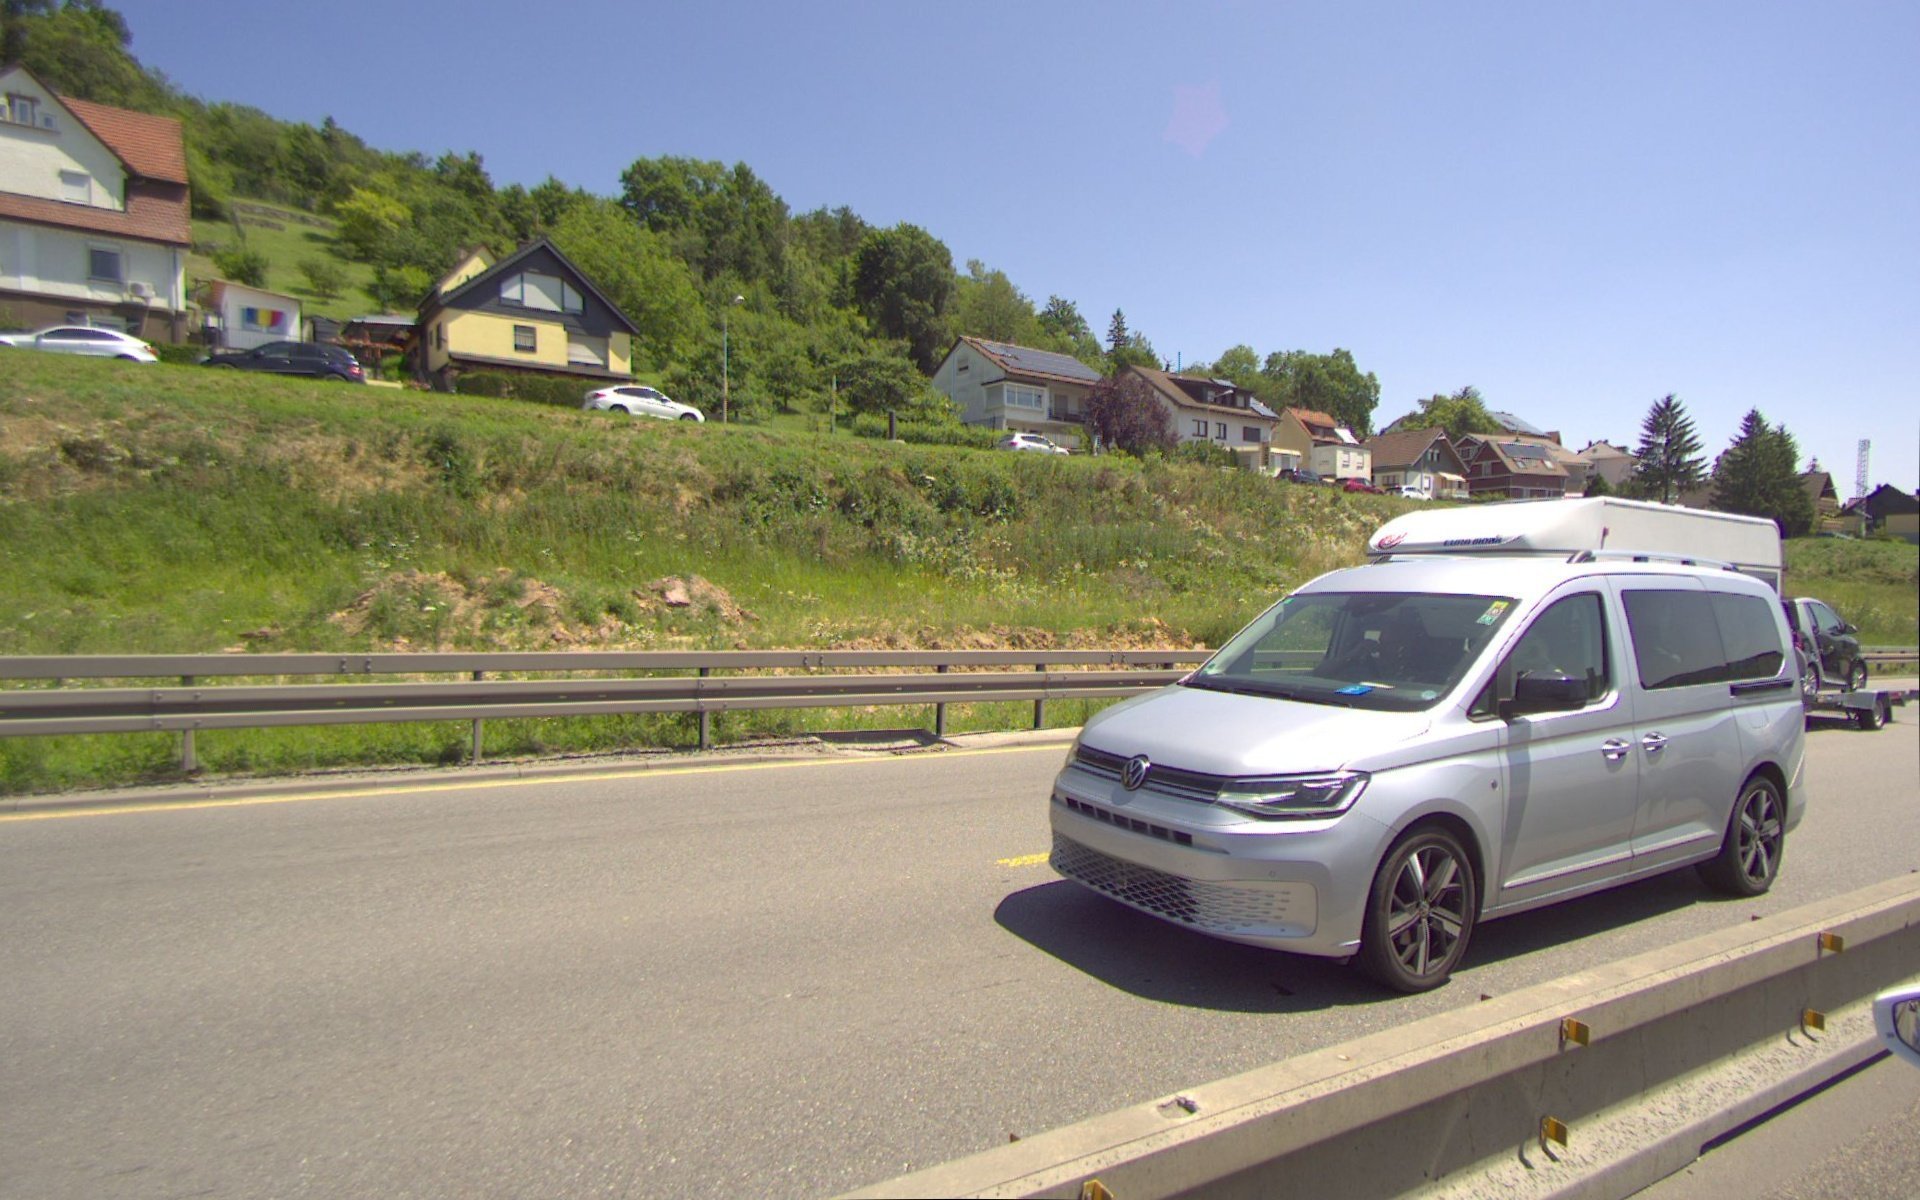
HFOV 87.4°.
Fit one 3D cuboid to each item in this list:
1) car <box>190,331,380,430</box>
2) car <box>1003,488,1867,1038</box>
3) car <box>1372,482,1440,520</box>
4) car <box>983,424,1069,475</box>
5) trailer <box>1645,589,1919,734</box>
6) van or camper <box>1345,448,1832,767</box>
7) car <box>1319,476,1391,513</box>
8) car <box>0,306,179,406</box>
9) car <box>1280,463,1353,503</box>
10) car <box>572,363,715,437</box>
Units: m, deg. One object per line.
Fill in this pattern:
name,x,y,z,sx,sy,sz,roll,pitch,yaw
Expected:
car,-21.876,-7.045,32.727,4.925,2.035,2.056,3,-1,-36
car,2.814,0.599,5.475,4.983,1.852,1.828,1,0,-32
car,32.247,-7.114,72.615,4.768,2.068,2.333,3,-1,-34
car,3.330,-7.511,50.326,3.964,1.817,1.979,3,-1,-37
trailer,13.042,0.871,15.537,5.082,1.919,2.091,1,0,-31
van or camper,8.043,0.144,12.558,6.844,3.107,2.280,1,0,-31
car,27.141,-7.209,69.029,4.752,1.817,2.333,3,-1,-34
car,-25.821,-7.119,29.495,4.389,1.896,1.979,3,-1,-36
car,22.828,-7.459,64.316,4.721,1.817,2.162,3,-1,-37
car,-12.448,-7.831,39.693,4.967,1.817,1.979,3,-1,-37
